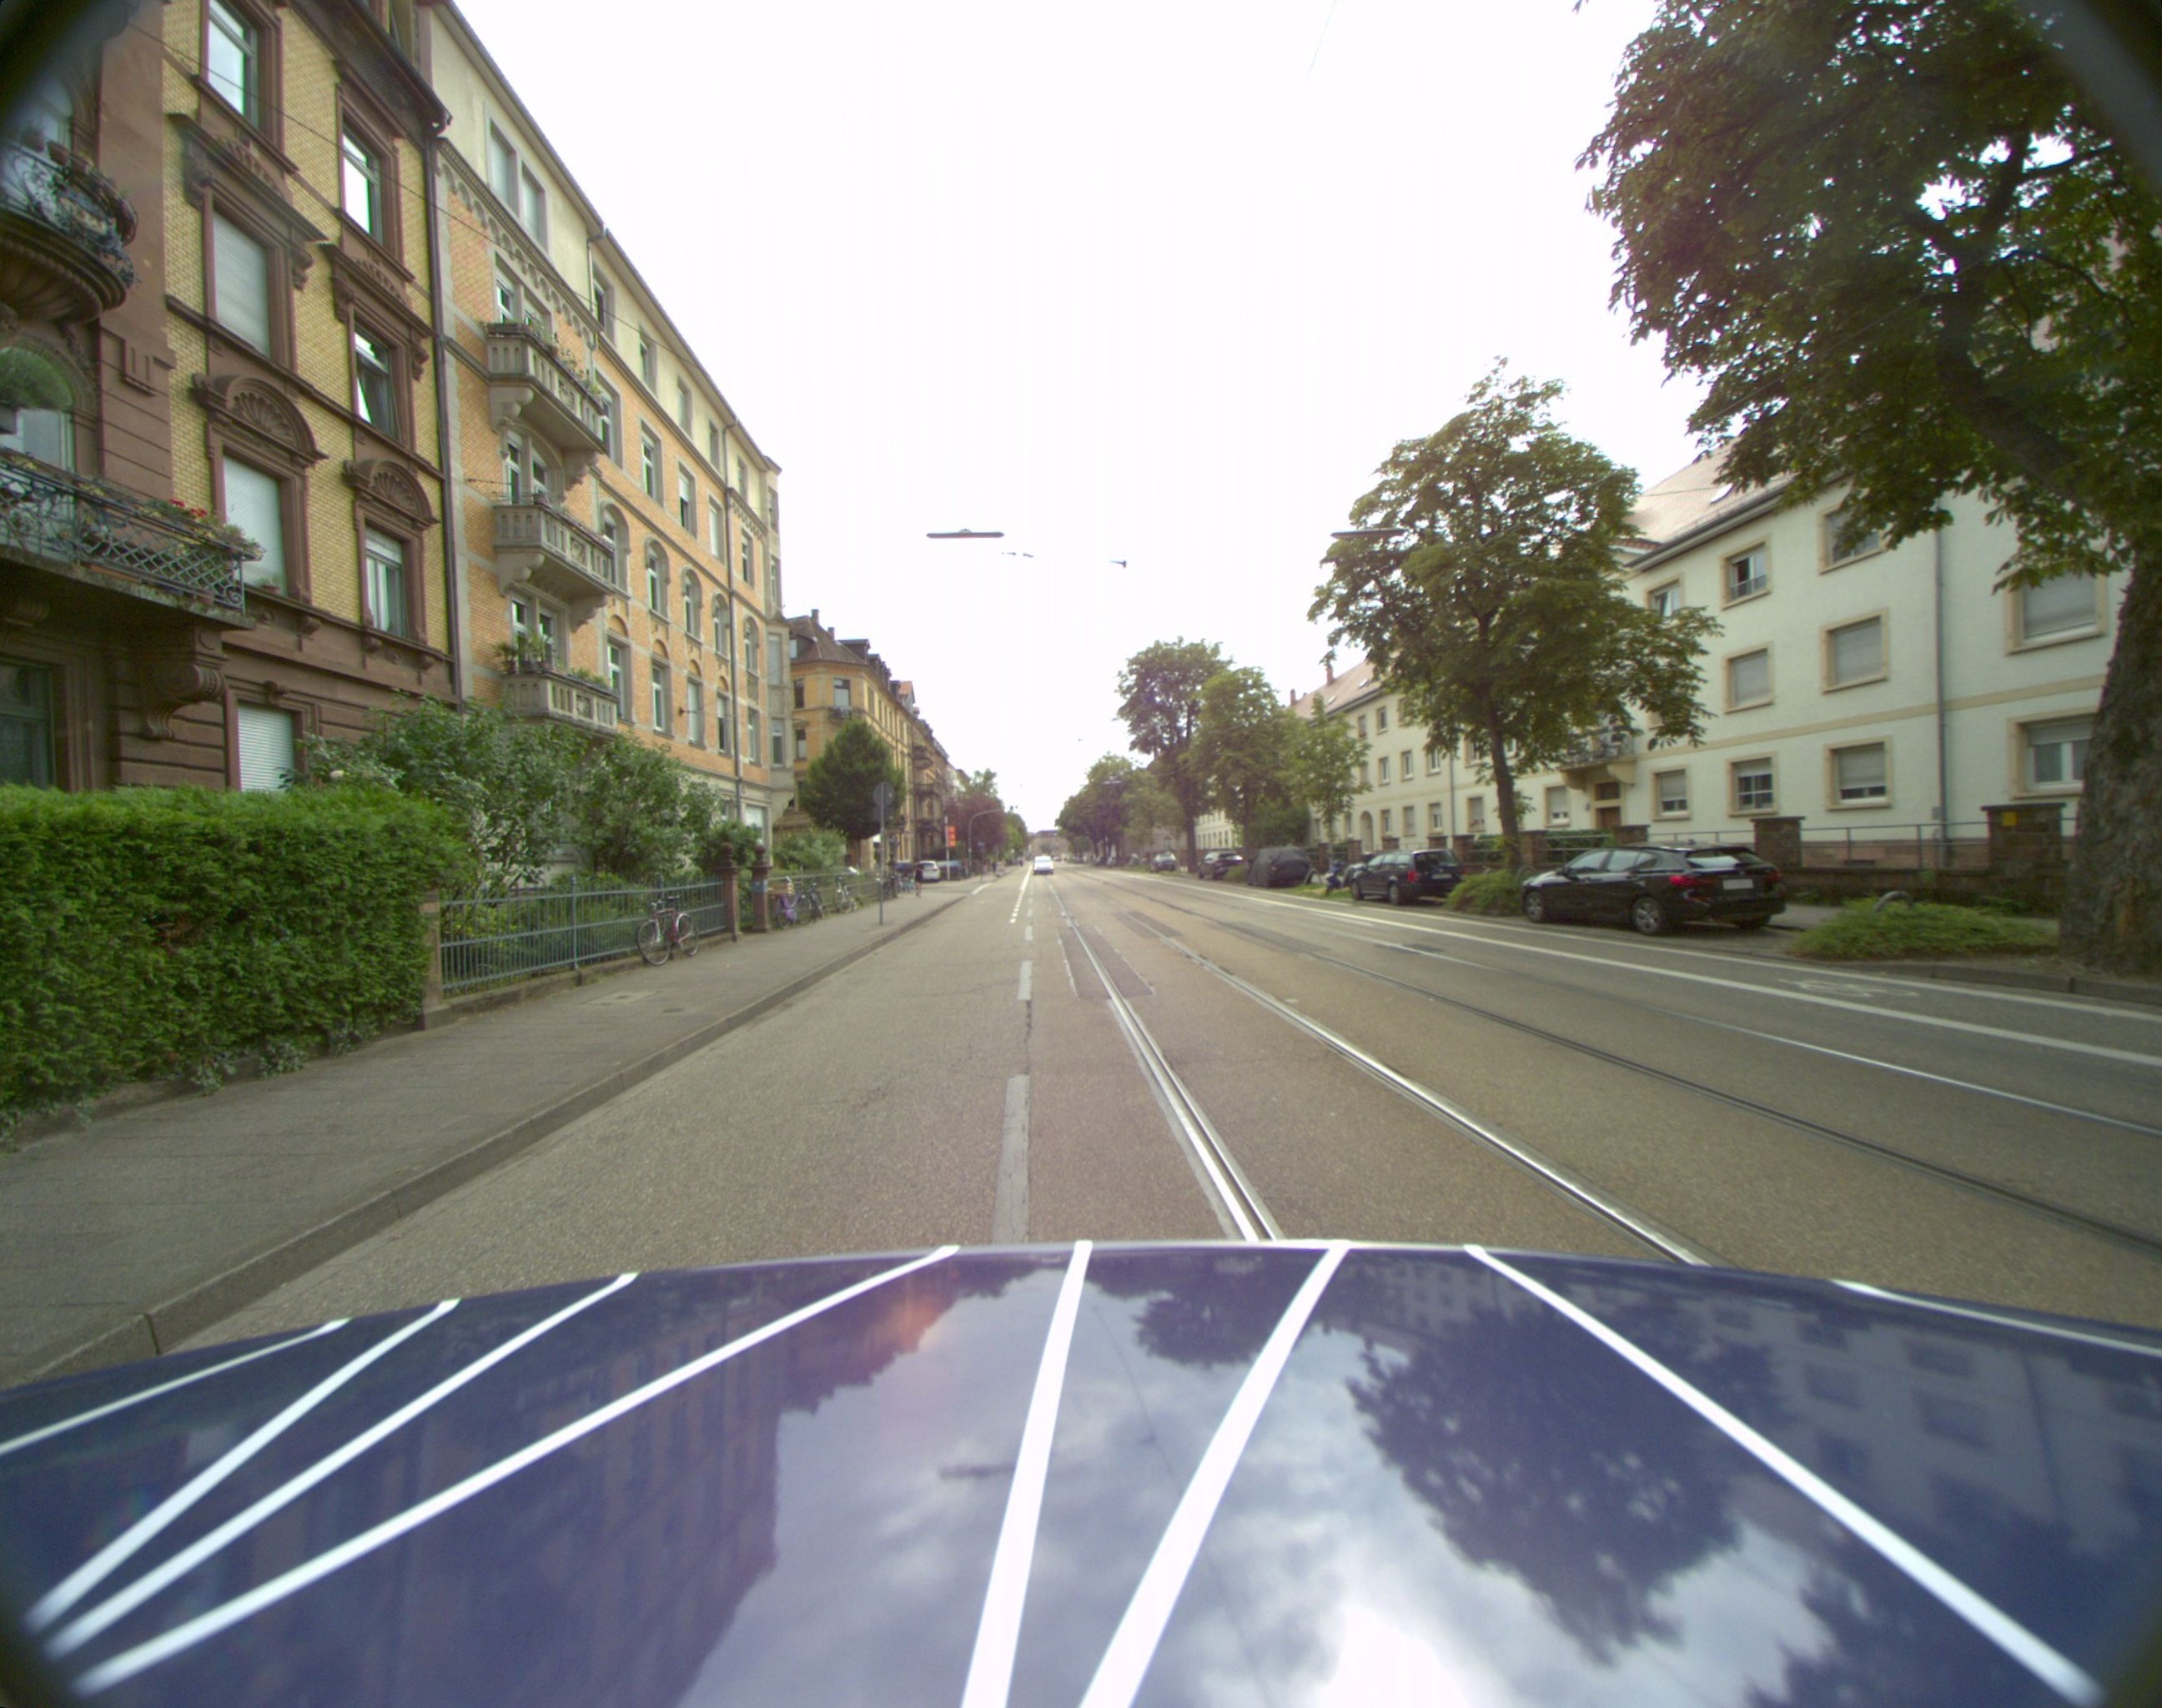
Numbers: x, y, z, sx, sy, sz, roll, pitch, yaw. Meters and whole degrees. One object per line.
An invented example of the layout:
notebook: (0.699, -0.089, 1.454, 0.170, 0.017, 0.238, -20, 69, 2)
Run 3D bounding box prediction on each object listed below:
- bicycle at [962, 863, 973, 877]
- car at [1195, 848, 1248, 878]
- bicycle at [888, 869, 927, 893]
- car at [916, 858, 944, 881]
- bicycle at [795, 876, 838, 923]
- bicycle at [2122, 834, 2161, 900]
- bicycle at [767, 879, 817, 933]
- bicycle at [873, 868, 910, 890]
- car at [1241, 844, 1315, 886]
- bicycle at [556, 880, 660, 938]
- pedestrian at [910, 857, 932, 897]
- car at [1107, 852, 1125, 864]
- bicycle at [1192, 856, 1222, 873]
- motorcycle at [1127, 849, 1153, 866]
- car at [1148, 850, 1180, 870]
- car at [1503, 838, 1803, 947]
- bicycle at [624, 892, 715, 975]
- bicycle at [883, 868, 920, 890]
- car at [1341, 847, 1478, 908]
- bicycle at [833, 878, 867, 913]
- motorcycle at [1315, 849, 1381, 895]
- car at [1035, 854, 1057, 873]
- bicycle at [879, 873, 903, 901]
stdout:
bicycle: (-9.187, 1.268, 61.636, 0.631, 1.106, 1.874, -2, 0, -2)
car: (7.675, 0.468, 41.834, 1.702, 1.462, 4.298, -2, 0, -5)
bicycle: (-8.702, 1.363, 38.266, 0.629, 1.106, 1.878, -1, 1, 40)
car: (-10.988, 1.109, 55.642, 1.757, 1.516, 3.997, -2, 0, -9)
bicycle: (-6.704, 1.133, 19.340, 0.580, 1.105, 1.671, 2, 0, -4)
bicycle: (14.443, 0.166, 9.561, 0.510, 0.858, 1.549, -2, 0, -3)
bicycle: (-6.584, 1.162, 17.371, 0.580, 1.105, 1.671, 2, 0, -4)
bicycle: (-10.064, 1.342, 40.378, 1.890, 1.121, 0.533, -2, 1, 18)
car: (8.350, 0.438, 32.558, 1.790, 1.602, 4.298, -2, 0, -3)
bicycle: (-9.679, 1.117, 15.591, 1.671, 1.105, 0.611, -2, 1, -5)
pedestrian: (-6.743, 0.966, 32.071, 0.732, 1.614, 0.835, -2, 1, -3)
car: (4.542, 0.538, 98.410, 1.732, 1.462, 4.298, -2, 0, -5)
bicycle: (7.719, 0.654, 46.495, 1.672, 0.965, 0.672, -2, 1, -12)
motorcycle: (5.970, 0.328, 76.663, 2.312, 1.382, 0.838, -7, 1, 29)
car: (6.644, 0.445, 61.007, 1.701, 1.462, 4.297, -3, 1, -5)
car: (9.463, 0.552, 13.114, 1.701, 1.415, 4.298, -5, 0, -3)
bicycle: (-6.455, 1.214, 12.013, 0.580, 1.105, 1.671, -2, 0, -4)
bicycle: (-9.794, 1.386, 41.453, 1.890, 1.121, 0.533, -2, 1, 14)
car: (8.928, 0.587, 21.090, 1.701, 1.415, 4.298, -3, 0, -3)
bicycle: (-6.963, 1.234, 22.966, 0.580, 0.977, 1.671, 2, 0, -4)
motorcycle: (8.777, 0.573, 25.012, 1.872, 1.253, 0.591, -8, 1, -7)
car: (-3.275, 0.878, 71.729, 1.876, 1.670, 5.130, -2, 0, -2)
bicycle: (-7.203, 1.254, 28.851, 0.580, 0.977, 1.671, 2, 0, -4)
